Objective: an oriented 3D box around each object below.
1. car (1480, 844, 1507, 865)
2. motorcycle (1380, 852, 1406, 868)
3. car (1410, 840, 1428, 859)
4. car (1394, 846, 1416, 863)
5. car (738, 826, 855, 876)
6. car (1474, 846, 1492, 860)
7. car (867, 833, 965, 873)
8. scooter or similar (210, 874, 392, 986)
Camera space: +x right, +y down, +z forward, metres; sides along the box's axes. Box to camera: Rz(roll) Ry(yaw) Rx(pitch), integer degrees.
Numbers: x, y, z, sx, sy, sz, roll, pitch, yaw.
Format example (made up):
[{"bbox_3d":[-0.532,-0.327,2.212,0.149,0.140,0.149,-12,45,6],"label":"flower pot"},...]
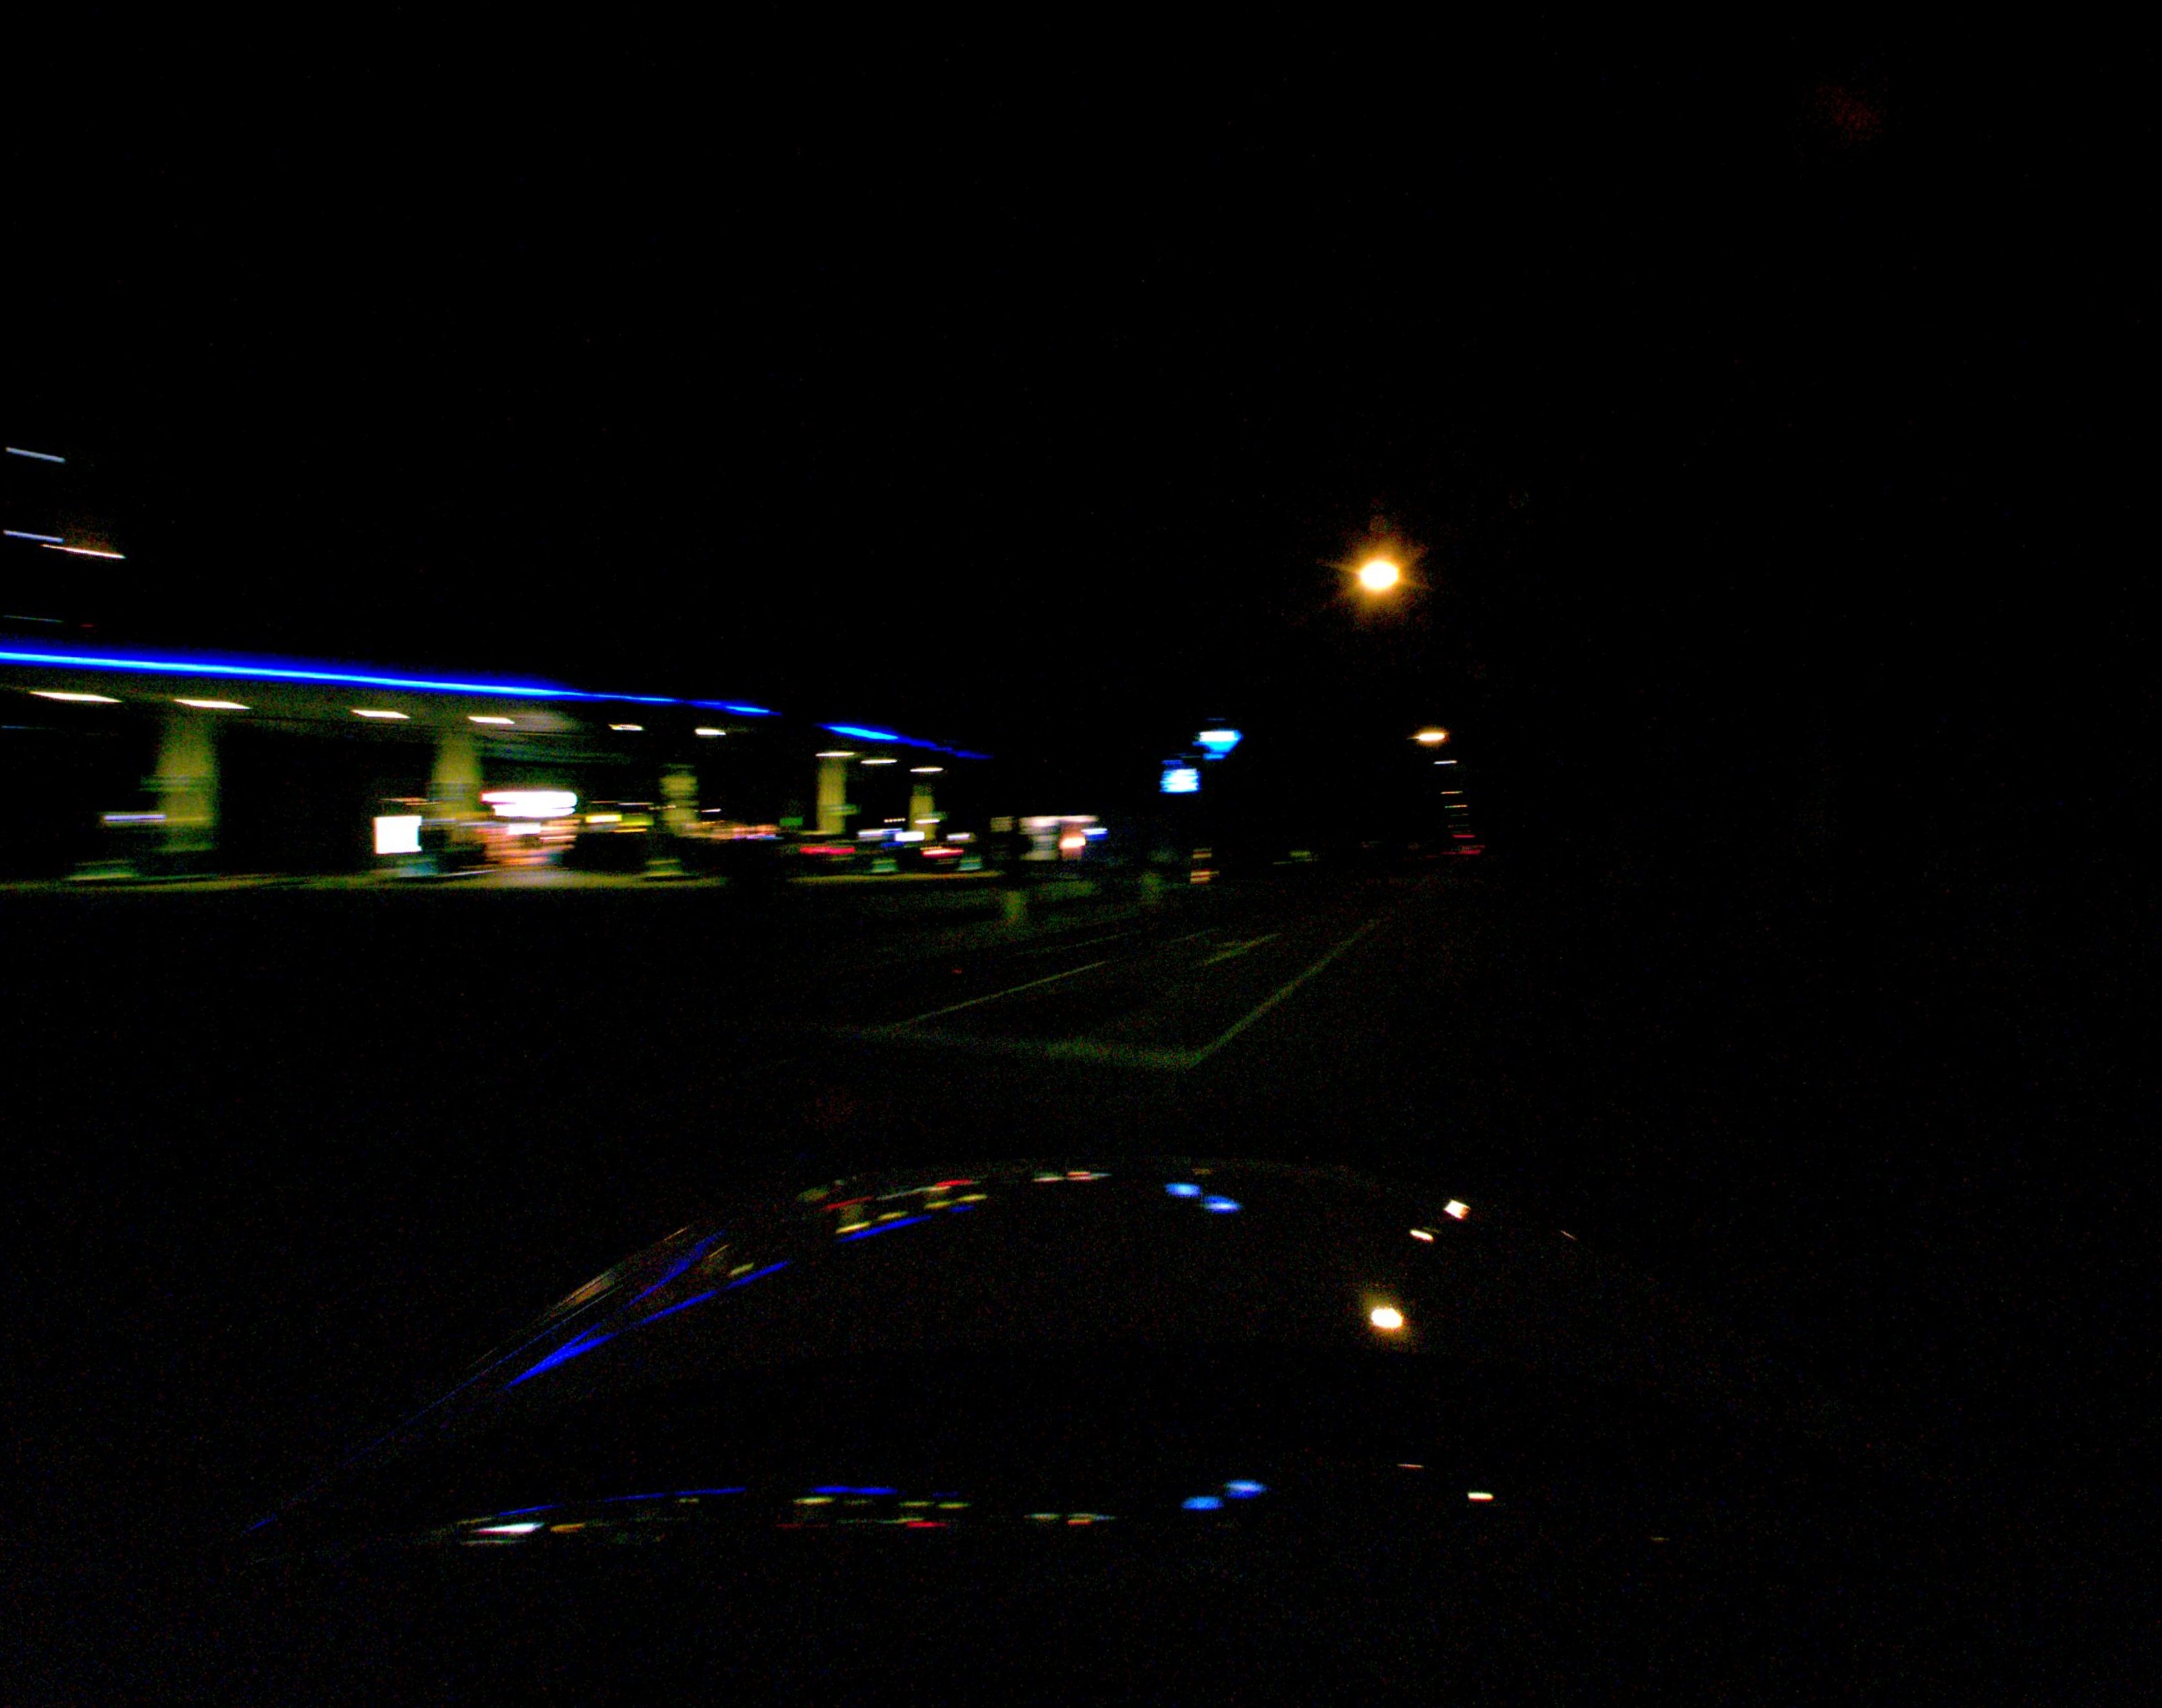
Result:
[{"bbox_3d":[40.642,0.043,80.247,1.976,2.014,4.021,-1,-1,21],"label":"car"},{"bbox_3d":[28.248,0.536,73.719,2.011,1.392,0.876,-1,-1,-4],"label":"motorcycle"},{"bbox_3d":[44.582,-0.511,107.457,1.975,2.415,4.510,-1,-1,25],"label":"car"},{"bbox_3d":[36.882,0.030,92.735,1.975,1.843,4.023,-1,-1,26],"label":"car"},{"bbox_3d":[-11.321,-0.156,32.385,4.197,1.769,2.012,3,1,28],"label":"car"},{"bbox_3d":[58.762,-0.172,118.975,1.976,2.014,4.021,-1,-1,21],"label":"car"},{"bbox_3d":[-7.636,-0.077,37.825,3.952,1.663,2.011,3,1,23],"label":"car"},{"bbox_3d":[-8.841,0.809,9.335,0.715,1.092,1.674,0,1,-12],"label":"scooter or similar"}]
